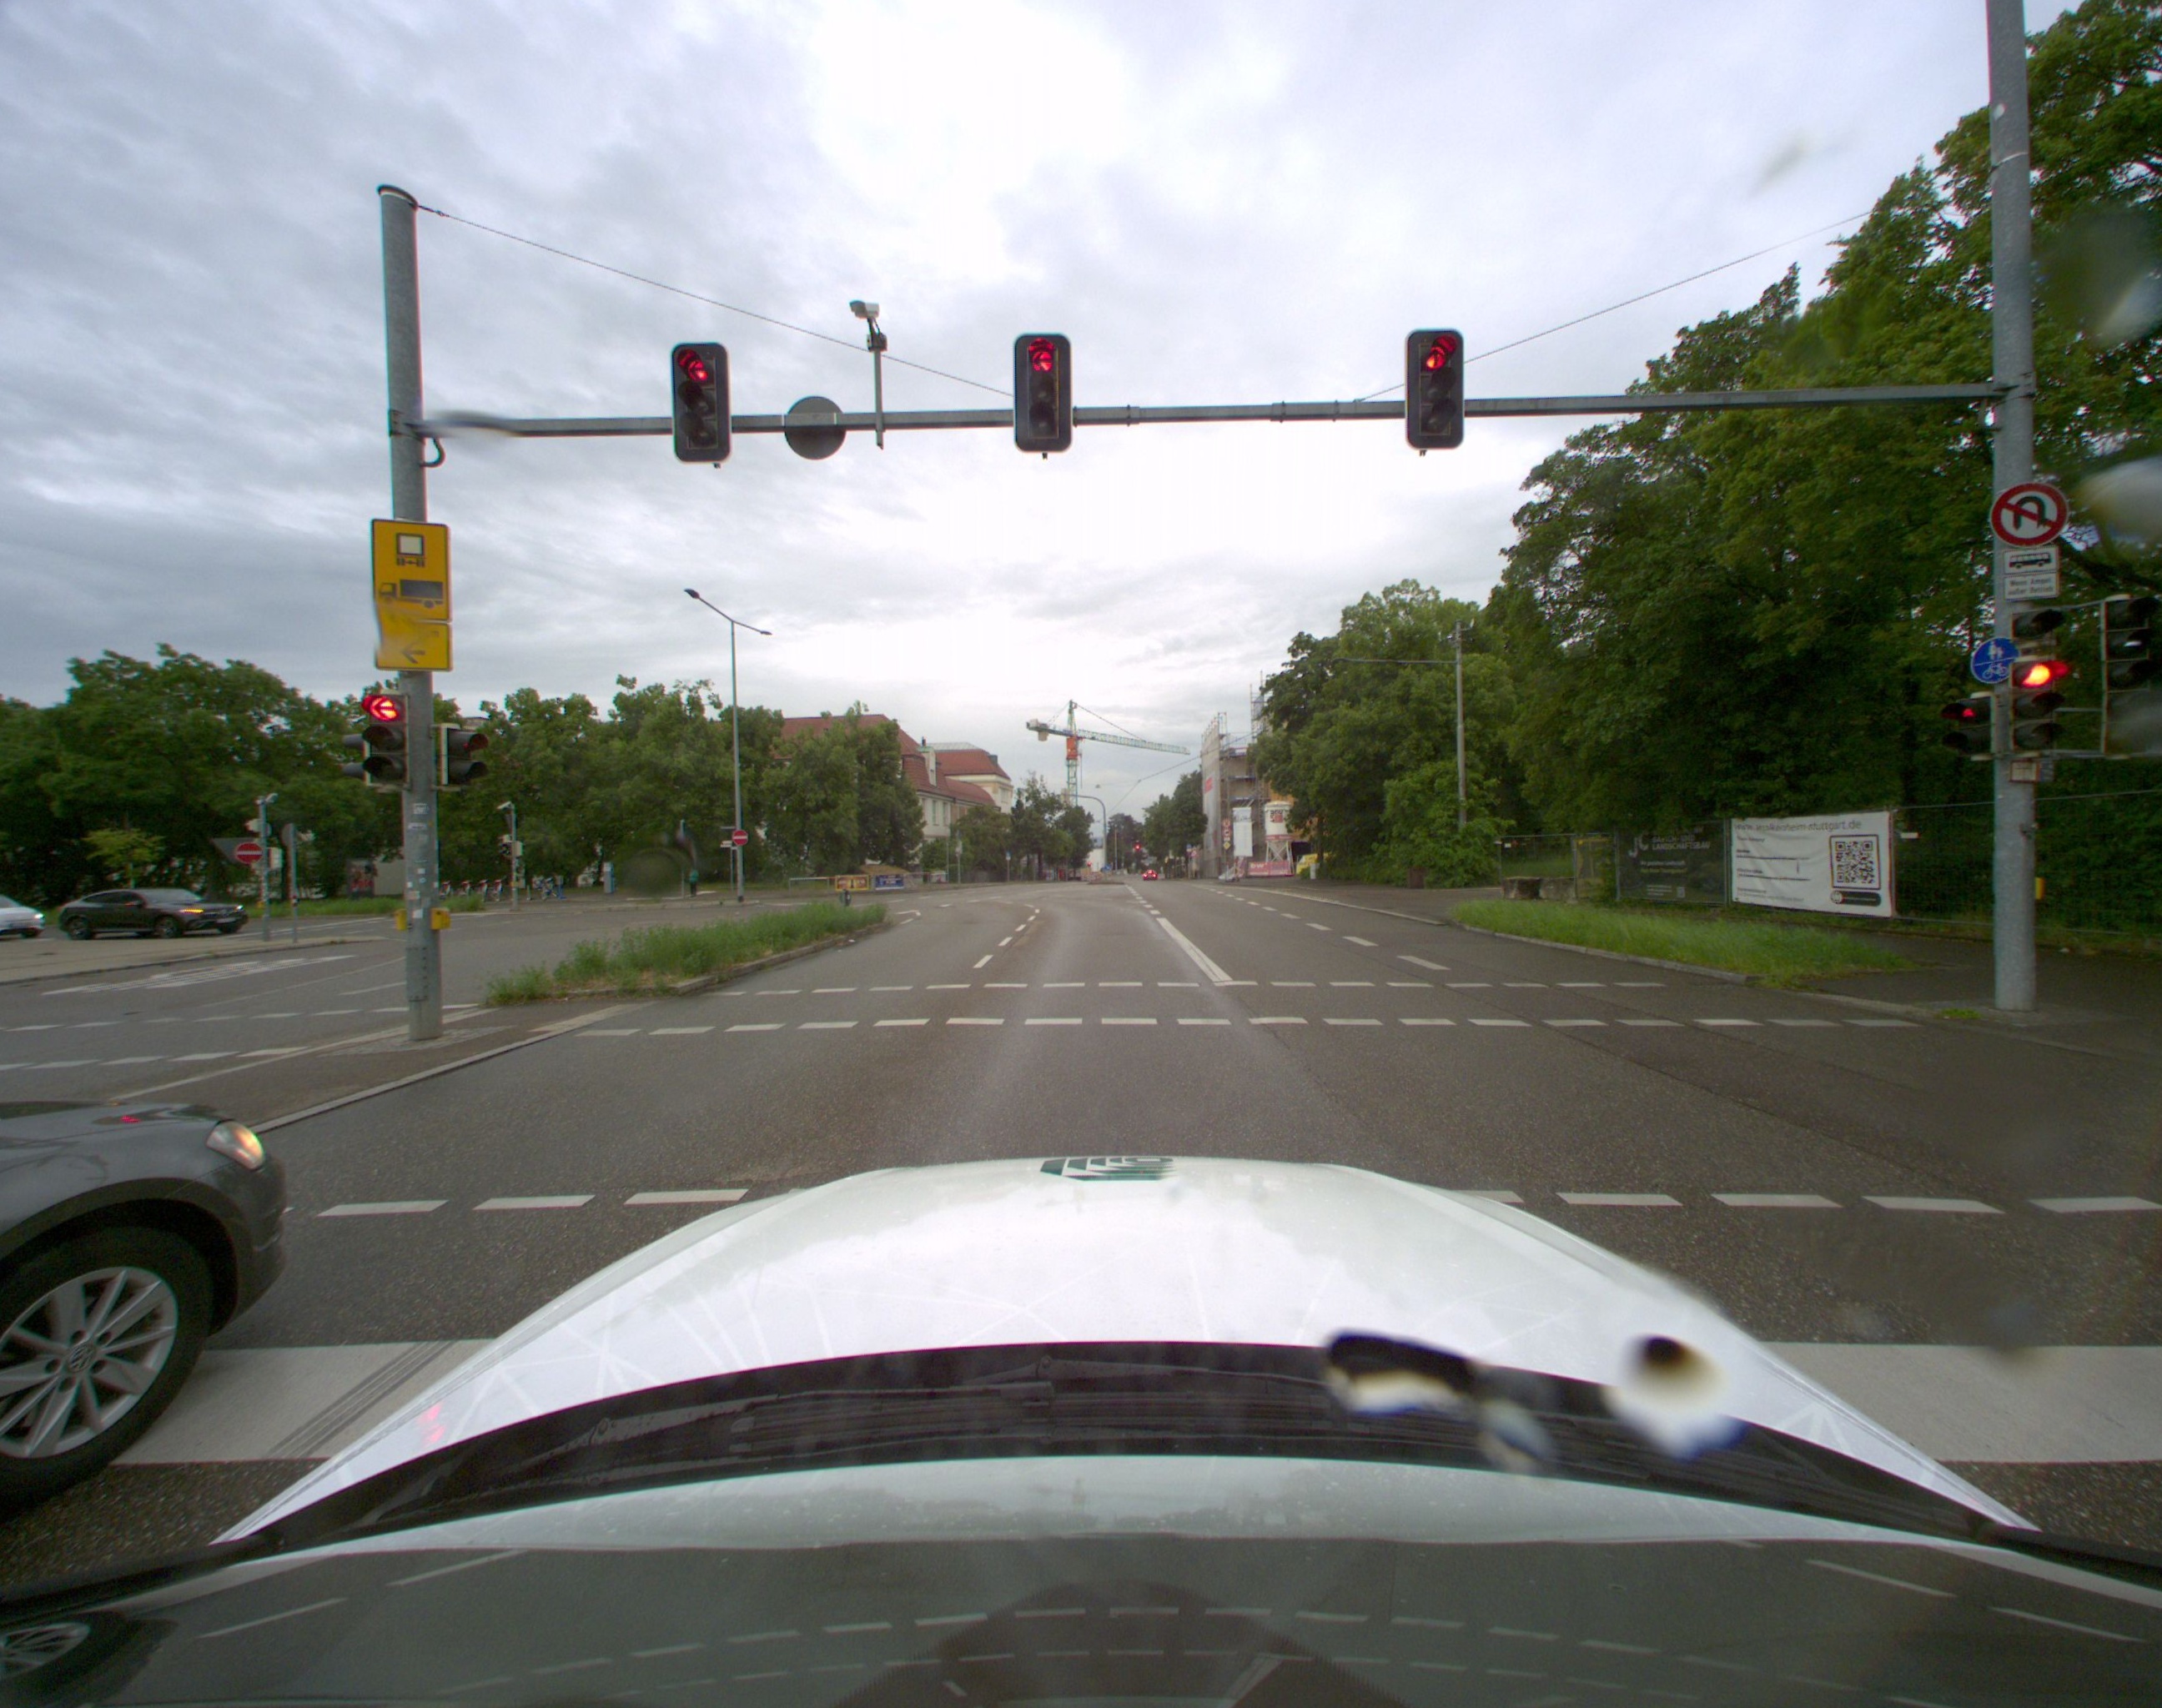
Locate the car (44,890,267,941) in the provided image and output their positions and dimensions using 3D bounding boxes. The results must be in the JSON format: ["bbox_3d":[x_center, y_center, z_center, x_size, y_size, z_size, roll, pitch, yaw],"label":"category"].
[{"bbox_3d":[-30.077,1.987,26.587,5.006,1.500,2.001,0,-1,1],"label":"car"}]

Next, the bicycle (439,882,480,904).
[{"bbox_3d":[-33.909,2.117,44.451,0.649,1.071,1.982,0,-1,2],"label":"bicycle"}]

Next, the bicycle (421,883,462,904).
[{"bbox_3d":[-34.988,2.144,44.582,0.649,1.071,1.982,0,-1,2],"label":"bicycle"}]

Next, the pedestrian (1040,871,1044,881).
[{"bbox_3d":[-5.303,2.971,111.226,0.473,1.396,0.411,-2,-1,1],"label":"pedestrian"}]

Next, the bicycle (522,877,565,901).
[{"bbox_3d":[-29.437,1.923,44.617,0.987,1.249,1.982,0,-1,2],"label":"bicycle"}]

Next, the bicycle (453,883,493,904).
[{"bbox_3d":[-33.019,2.121,44.276,0.649,1.071,1.982,0,-1,2],"label":"bicycle"}]

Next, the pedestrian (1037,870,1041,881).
[{"bbox_3d":[-5.775,2.946,111.330,0.473,1.396,0.411,-2,-1,1],"label":"pedestrian"}]

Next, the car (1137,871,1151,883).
[{"bbox_3d":[10.208,3.670,131.195,1.986,1.750,4.001,-2,0,1],"label":"car"}]

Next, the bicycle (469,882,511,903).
[{"bbox_3d":[-32.270,2.069,44.508,0.798,1.071,1.982,0,-1,2],"label":"bicycle"}]

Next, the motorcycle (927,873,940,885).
[{"bbox_3d":[-11.821,2.010,65.326,0.846,0.877,0.877,0,-1,1],"label":"motorcycle"}]

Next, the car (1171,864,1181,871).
[{"bbox_3d":[25.526,3.519,218.936,1.980,1.750,4.014,-2,0,13],"label":"car"}]

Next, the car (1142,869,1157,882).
[{"bbox_3d":[10.418,3.291,123.996,1.986,1.750,4.001,-2,0,1],"label":"car"}]

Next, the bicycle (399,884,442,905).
[{"bbox_3d":[-35.965,2.180,44.367,0.649,1.071,1.982,0,-1,2],"label":"bicycle"}]

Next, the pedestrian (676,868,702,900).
[{"bbox_3d":[-21.616,1.634,44.898,0.918,1.727,0.947,0,-1,5],"label":"pedestrian"}]

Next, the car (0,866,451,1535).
[{"bbox_3d":[-3.393,0.807,0.893,1.808,1.481,4.380,-2,0,3],"label":"car"}]

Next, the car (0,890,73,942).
[{"bbox_3d":[-36.498,2.038,27.052,3.539,1.594,2.001,0,-1,1],"label":"car"}]
